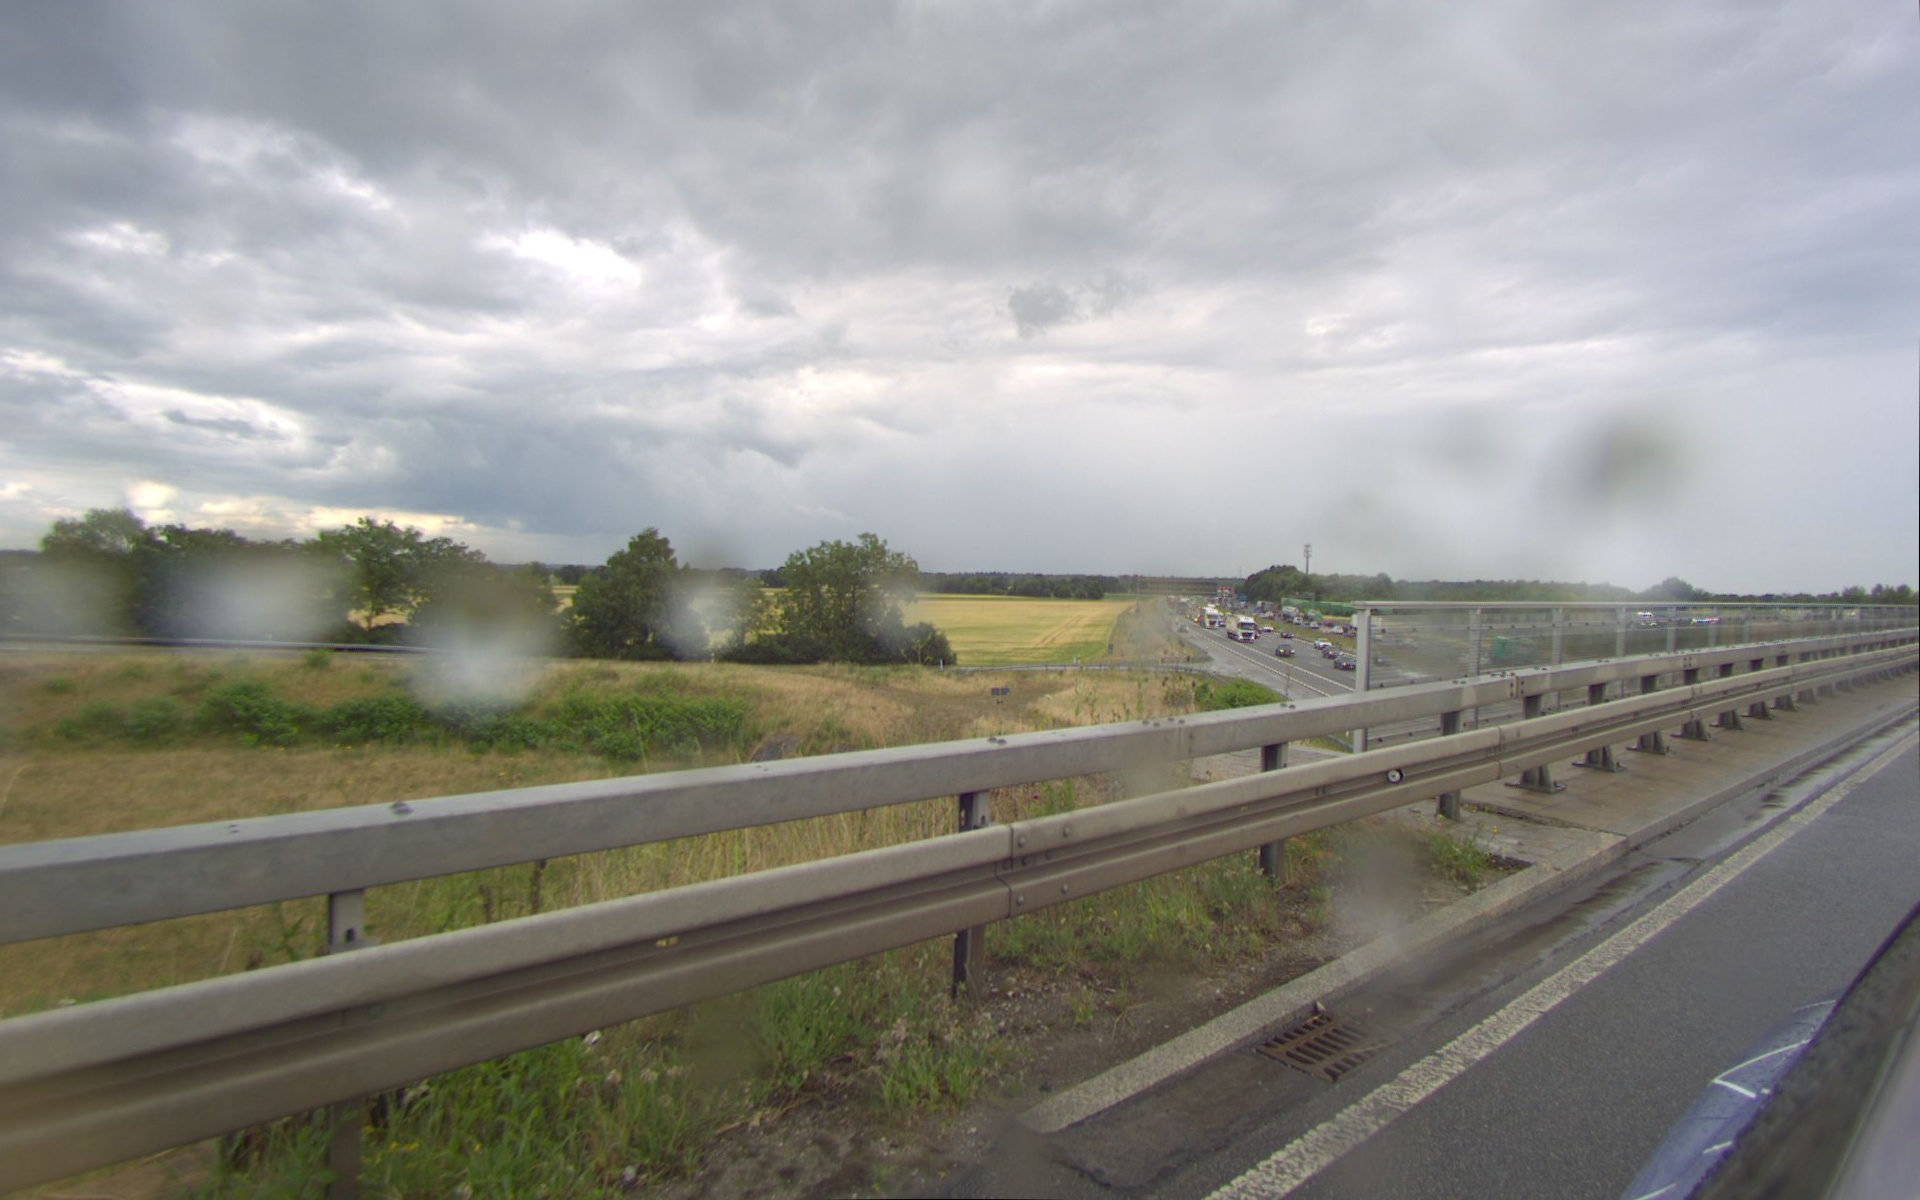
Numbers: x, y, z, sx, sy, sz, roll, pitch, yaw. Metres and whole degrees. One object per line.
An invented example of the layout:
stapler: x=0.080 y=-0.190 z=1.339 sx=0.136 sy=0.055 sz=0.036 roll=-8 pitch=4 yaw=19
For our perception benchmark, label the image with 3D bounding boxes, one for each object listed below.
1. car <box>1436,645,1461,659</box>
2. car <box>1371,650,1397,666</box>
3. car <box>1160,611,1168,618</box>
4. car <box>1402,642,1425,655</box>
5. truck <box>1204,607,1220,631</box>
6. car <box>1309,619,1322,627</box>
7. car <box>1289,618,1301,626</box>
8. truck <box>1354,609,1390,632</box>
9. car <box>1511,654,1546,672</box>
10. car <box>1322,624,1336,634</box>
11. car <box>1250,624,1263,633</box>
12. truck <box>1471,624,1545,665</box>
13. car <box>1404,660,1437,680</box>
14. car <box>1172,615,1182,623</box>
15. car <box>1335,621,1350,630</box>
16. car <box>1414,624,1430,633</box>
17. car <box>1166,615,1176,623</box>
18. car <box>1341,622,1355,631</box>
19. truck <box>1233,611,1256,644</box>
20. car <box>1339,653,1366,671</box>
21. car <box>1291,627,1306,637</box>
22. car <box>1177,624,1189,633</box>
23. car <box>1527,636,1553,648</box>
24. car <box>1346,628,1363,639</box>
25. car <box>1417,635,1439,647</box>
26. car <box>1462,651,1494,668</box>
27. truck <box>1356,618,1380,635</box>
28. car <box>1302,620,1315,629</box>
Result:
car: x=67.464 y=7.169 z=139.747 sx=1.826 sy=1.690 sz=4.712 roll=0 pitch=0 yaw=9
car: x=52.339 y=7.084 z=124.894 sx=1.826 sy=1.690 sz=4.712 roll=0 pitch=0 yaw=9
car: x=48.448 y=3.493 z=240.381 sx=1.826 sy=1.690 sz=4.712 roll=0 pitch=0 yaw=9
car: x=65.557 y=7.028 z=146.325 sx=1.826 sy=1.690 sz=4.712 roll=0 pitch=0 yaw=9
truck: x=53.089 y=3.941 z=213.711 sx=2.751 sy=4.676 sz=12.710 roll=0 pitch=0 yaw=12
car: x=80.925 y=5.138 z=230.526 sx=1.826 sy=1.690 sz=4.712 roll=0 pitch=0 yaw=9
car: x=78.832 y=5.097 z=238.417 sx=1.826 sy=1.690 sz=4.712 roll=0 pitch=0 yaw=9
truck: x=86.795 y=4.291 z=213.577 sx=3.545 sy=4.595 sz=15.587 roll=0 pitch=0 yaw=9
car: x=64.695 y=7.137 z=115.224 sx=1.825 sy=1.690 sz=4.715 roll=0 pitch=0 yaw=7
car: x=72.666 y=5.701 z=199.358 sx=1.826 sy=1.690 sz=4.712 roll=0 pitch=0 yaw=9
car: x=58.346 y=5.541 z=199.352 sx=1.826 sy=1.690 sz=4.712 roll=0 pitch=0 yaw=9
truck: x=71.465 y=5.699 z=132.634 sx=3.545 sy=4.595 sz=15.587 roll=0 pitch=0 yaw=9
car: x=46.035 y=6.996 z=101.275 sx=1.826 sy=1.690 sz=4.712 roll=0 pitch=0 yaw=9
car: x=46.935 y=4.063 z=218.626 sx=1.826 sy=1.690 sz=4.712 roll=0 pitch=0 yaw=9
car: x=78.092 y=5.204 z=206.530 sx=1.826 sy=1.690 sz=4.712 roll=0 pitch=0 yaw=9
car: x=96.663 y=5.894 z=211.846 sx=1.826 sy=1.690 sz=4.712 roll=0 pitch=0 yaw=9
car: x=47.060 y=4.216 z=226.081 sx=1.826 sy=1.690 sz=4.712 roll=0 pitch=0 yaw=9
car: x=83.118 y=5.643 z=217.003 sx=1.826 sy=1.690 sz=4.712 roll=0 pitch=0 yaw=9
truck: x=46.661 y=4.414 z=166.202 sx=2.751 sy=4.962 sz=12.710 roll=0 pitch=0 yaw=12
car: x=44.329 y=7.021 z=114.330 sx=1.826 sy=1.690 sz=4.712 roll=0 pitch=0 yaw=9
car: x=61.237 y=5.726 z=183.139 sx=1.826 sy=1.690 sz=4.712 roll=0 pitch=0 yaw=9
car: x=41.568 y=5.251 z=188.503 sx=1.784 sy=1.454 sz=4.714 roll=0 pitch=0 yaw=7
car: x=89.733 y=6.469 z=156.658 sx=1.826 sy=1.690 sz=4.712 roll=0 pitch=0 yaw=9
car: x=69.371 y=5.849 z=178.161 sx=1.826 sy=1.690 sz=4.712 roll=0 pitch=0 yaw=9
car: x=72.791 y=6.338 z=157.562 sx=1.826 sy=1.690 sz=4.712 roll=0 pitch=0 yaw=9
car: x=62.439 y=7.163 z=122.067 sx=1.825 sy=1.690 sz=4.715 roll=0 pitch=0 yaw=7
truck: x=79.568 y=5.094 z=197.451 sx=2.175 sy=3.003 sz=9.285 roll=0 pitch=0 yaw=9
car: x=75.375 y=5.307 z=218.957 sx=1.826 sy=1.690 sz=4.712 roll=0 pitch=0 yaw=9
